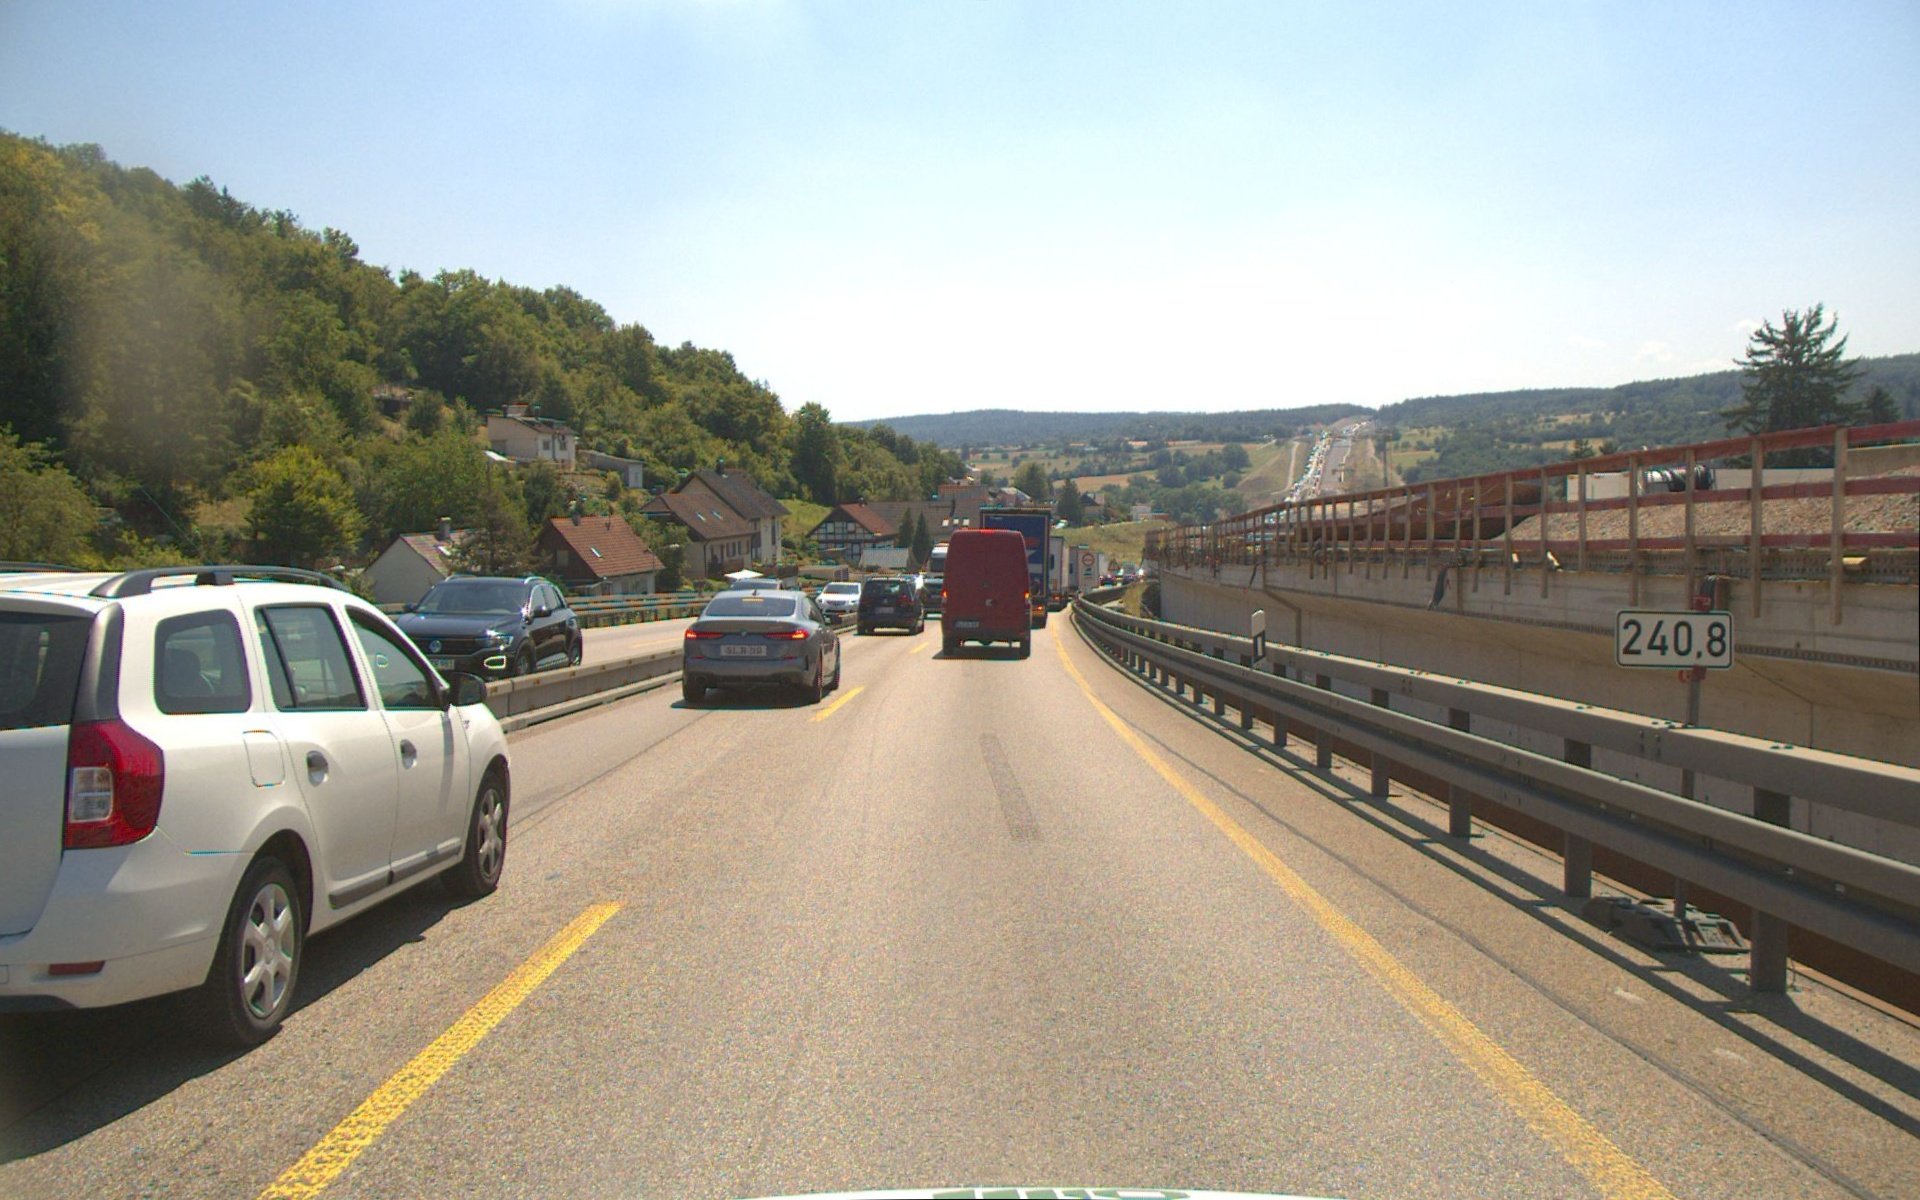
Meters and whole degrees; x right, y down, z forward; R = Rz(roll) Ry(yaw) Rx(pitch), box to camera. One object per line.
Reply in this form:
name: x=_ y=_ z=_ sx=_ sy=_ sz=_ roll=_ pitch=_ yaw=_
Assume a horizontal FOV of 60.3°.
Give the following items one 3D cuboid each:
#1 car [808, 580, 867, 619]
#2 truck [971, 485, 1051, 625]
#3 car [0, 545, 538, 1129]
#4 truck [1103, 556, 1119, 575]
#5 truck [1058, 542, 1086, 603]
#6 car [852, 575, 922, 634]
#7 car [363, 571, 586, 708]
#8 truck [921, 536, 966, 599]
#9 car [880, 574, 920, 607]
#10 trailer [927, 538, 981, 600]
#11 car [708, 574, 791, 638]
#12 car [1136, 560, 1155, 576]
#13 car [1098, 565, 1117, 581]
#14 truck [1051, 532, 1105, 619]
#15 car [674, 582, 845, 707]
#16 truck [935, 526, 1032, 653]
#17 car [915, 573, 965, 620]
car: x=-4.908 y=-0.044 z=66.782 sx=1.872 sy=1.512 sz=4.478 roll=1 pitch=1 yaw=2
truck: x=1.978 y=-1.572 z=63.079 sx=2.728 sy=4.900 sz=9.687 roll=1 pitch=0 yaw=2
car: x=-2.988 y=0.631 z=6.419 sx=1.618 sy=1.509 sz=4.266 roll=-1 pitch=0 yaw=-1
truck: x=13.036 y=-2.979 z=142.842 sx=1.286 sy=1.569 sz=3.153 roll=1 pitch=0 yaw=6
truck: x=8.449 y=-2.064 z=124.091 sx=1.951 sy=4.458 sz=4.002 roll=1 pitch=0 yaw=5
car: x=-2.117 y=0.134 z=49.054 sx=1.772 sy=1.636 sz=3.720 roll=1 pitch=0 yaw=2
car: x=-6.179 y=0.439 z=21.520 sx=1.694 sy=1.578 sz=4.036 roll=1 pitch=1 yaw=0
truck: x=-1.297 y=-2.579 z=133.932 sx=2.996 sy=4.906 sz=4.649 roll=1 pitch=0 yaw=7
car: x=-3.231 y=-0.524 z=90.105 sx=1.872 sy=1.735 sz=4.737 roll=1 pitch=1 yaw=2
trailer: x=-0.403 y=-2.557 z=141.944 sx=2.999 sy=4.899 sz=14.011 roll=1 pitch=0 yaw=6
car: x=-5.849 y=0.149 z=46.323 sx=1.703 sy=1.670 sz=4.001 roll=1 pitch=0 yaw=1
car: x=25.097 y=-4.282 z=224.000 sx=2.086 sy=2.049 sz=4.003 roll=1 pitch=0 yaw=13
car: x=18.691 y=-3.403 z=209.124 sx=1.765 sy=2.048 sz=4.003 roll=2 pitch=1 yaw=13
truck: x=6.944 y=-1.363 z=98.405 sx=2.728 sy=4.900 sz=9.687 roll=1 pitch=0 yaw=2
car: x=-2.593 y=0.523 z=22.263 sx=1.758 sy=1.511 sz=4.050 roll=1 pitch=0 yaw=1
truck: x=0.581 y=-0.217 z=36.538 sx=1.952 sy=2.623 sz=4.001 roll=1 pitch=0 yaw=3
car: x=-0.807 y=-0.135 z=68.236 sx=1.693 sy=1.870 sz=4.002 roll=1 pitch=0 yaw=4
